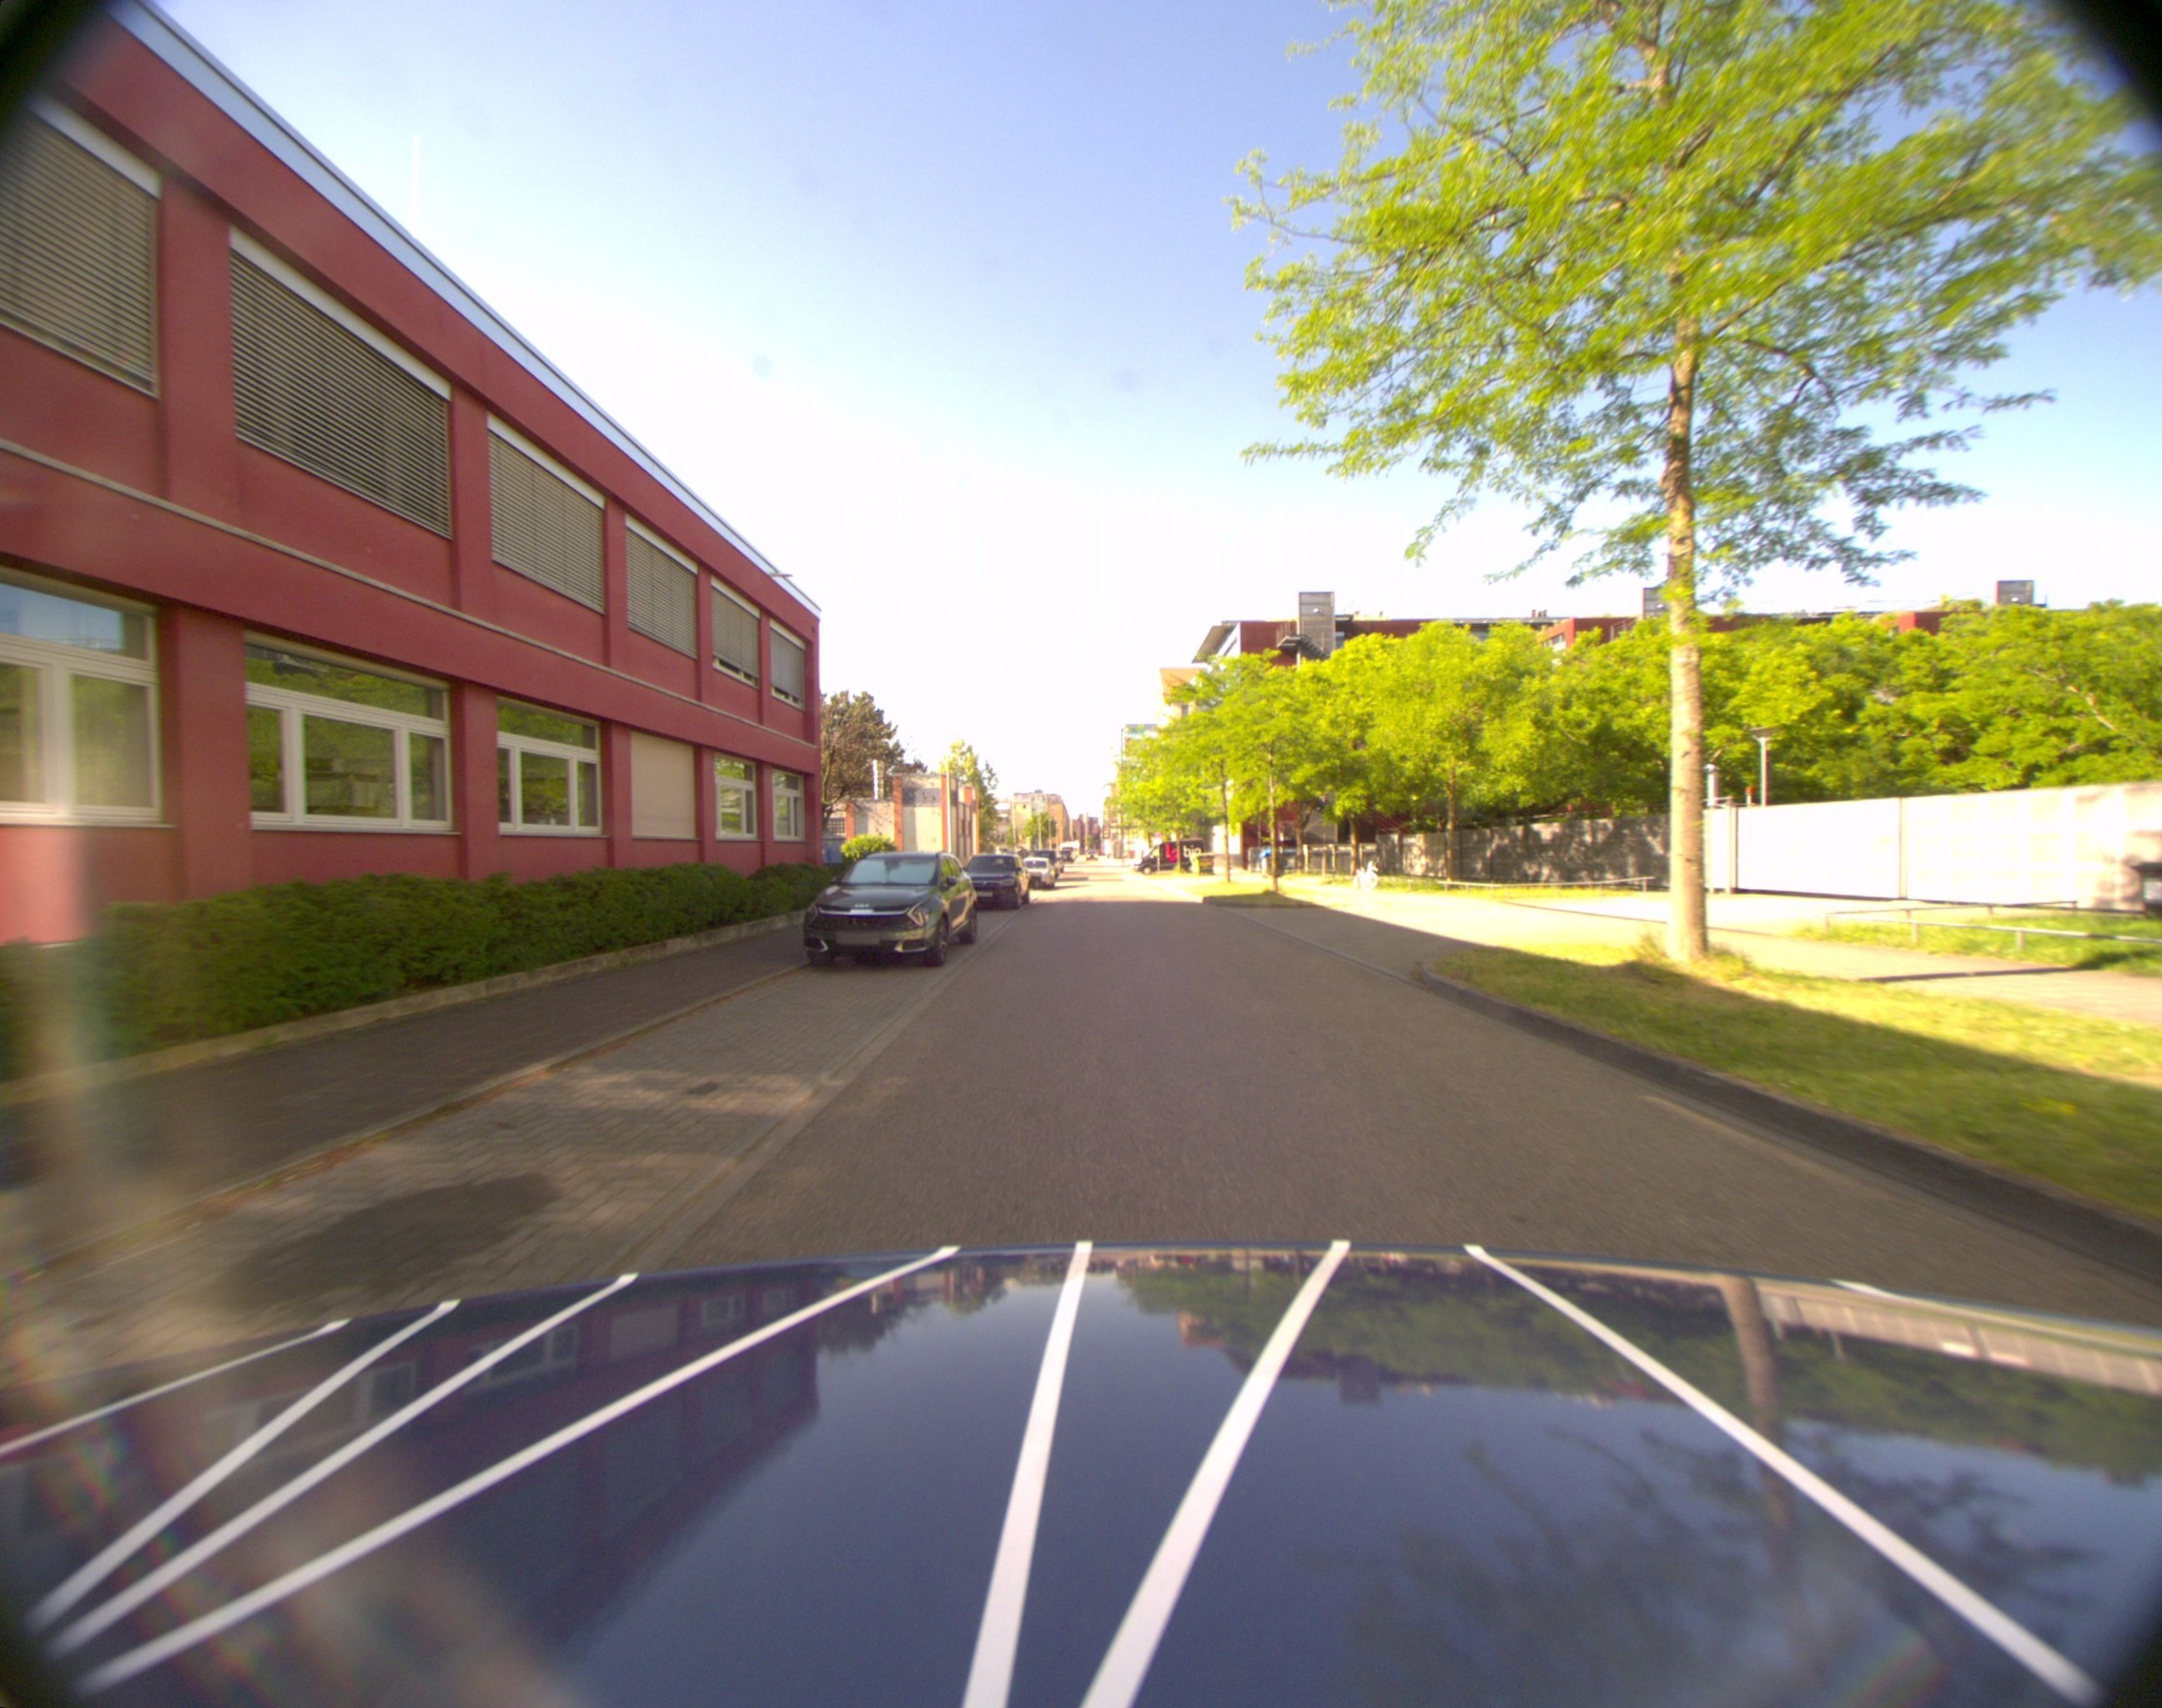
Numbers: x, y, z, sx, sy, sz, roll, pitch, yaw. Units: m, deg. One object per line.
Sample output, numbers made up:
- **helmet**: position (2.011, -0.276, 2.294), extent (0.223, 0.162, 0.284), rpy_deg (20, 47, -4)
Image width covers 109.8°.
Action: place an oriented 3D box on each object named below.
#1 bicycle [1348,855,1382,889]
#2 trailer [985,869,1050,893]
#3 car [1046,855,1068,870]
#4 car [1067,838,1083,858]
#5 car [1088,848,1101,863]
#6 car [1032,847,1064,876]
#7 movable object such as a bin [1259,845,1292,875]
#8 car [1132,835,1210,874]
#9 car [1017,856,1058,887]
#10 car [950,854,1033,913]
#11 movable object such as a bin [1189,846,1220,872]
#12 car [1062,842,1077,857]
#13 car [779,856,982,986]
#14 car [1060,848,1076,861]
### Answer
- **bicycle**: position (10.313, 0.628, 27.637), extent (0.602, 1.185, 1.727), rpy_deg (-2, 0, 1)
- **trailer**: position (-2.805, 1.172, 34.083), extent (1.563, 0.922, 2.987), rpy_deg (0, 0, 28)
- **car**: position (-2.148, 0.741, 69.042), extent (1.777, 1.281, 4.095), rpy_deg (0, 0, 1)
- **car**: position (-1.267, -1.233, 155.084), extent (2.913, 3.920, 6.326), rpy_deg (0, 1, 2)
- **car**: position (1.909, 0.211, 107.417), extent (1.903, 1.974, 4.372), rpy_deg (0, 0, 1)
- **car**: position (-2.287, 0.509, 53.641), extent (1.903, 1.974, 4.372), rpy_deg (0, 0, 1)
- **movable object such as a bin**: position (10.533, 0.313, 41.226), extent (1.522, 1.559, 1.347), rpy_deg (-2, 1, 6)
- **car**: position (6.658, 0.044, 56.625), extent (5.489, 2.527, 1.986), rpy_deg (-3, 1, 0)
- **car**: position (-2.101, 0.825, 37.649), extent (1.699, 1.448, 3.890), rpy_deg (0, 0, 1)
- **car**: position (-2.611, 0.817, 23.151), extent (1.878, 1.620, 4.406), rpy_deg (0, 0, 1)
- **movable object such as a bin**: position (7.703, 0.319, 47.554), extent (1.524, 1.559, 1.345), rpy_deg (-2, 1, -9)
- **car**: position (-1.518, -0.620, 104.141), extent (1.903, 1.974, 4.372), rpy_deg (0, 0, 1)
- **car**: position (-2.830, 0.858, 11.829), extent (1.903, 1.620, 4.372), rpy_deg (0, 0, 1)
- **car**: position (-1.593, 0.056, 95.194), extent (1.903, 1.585, 4.372), rpy_deg (0, 0, 1)
